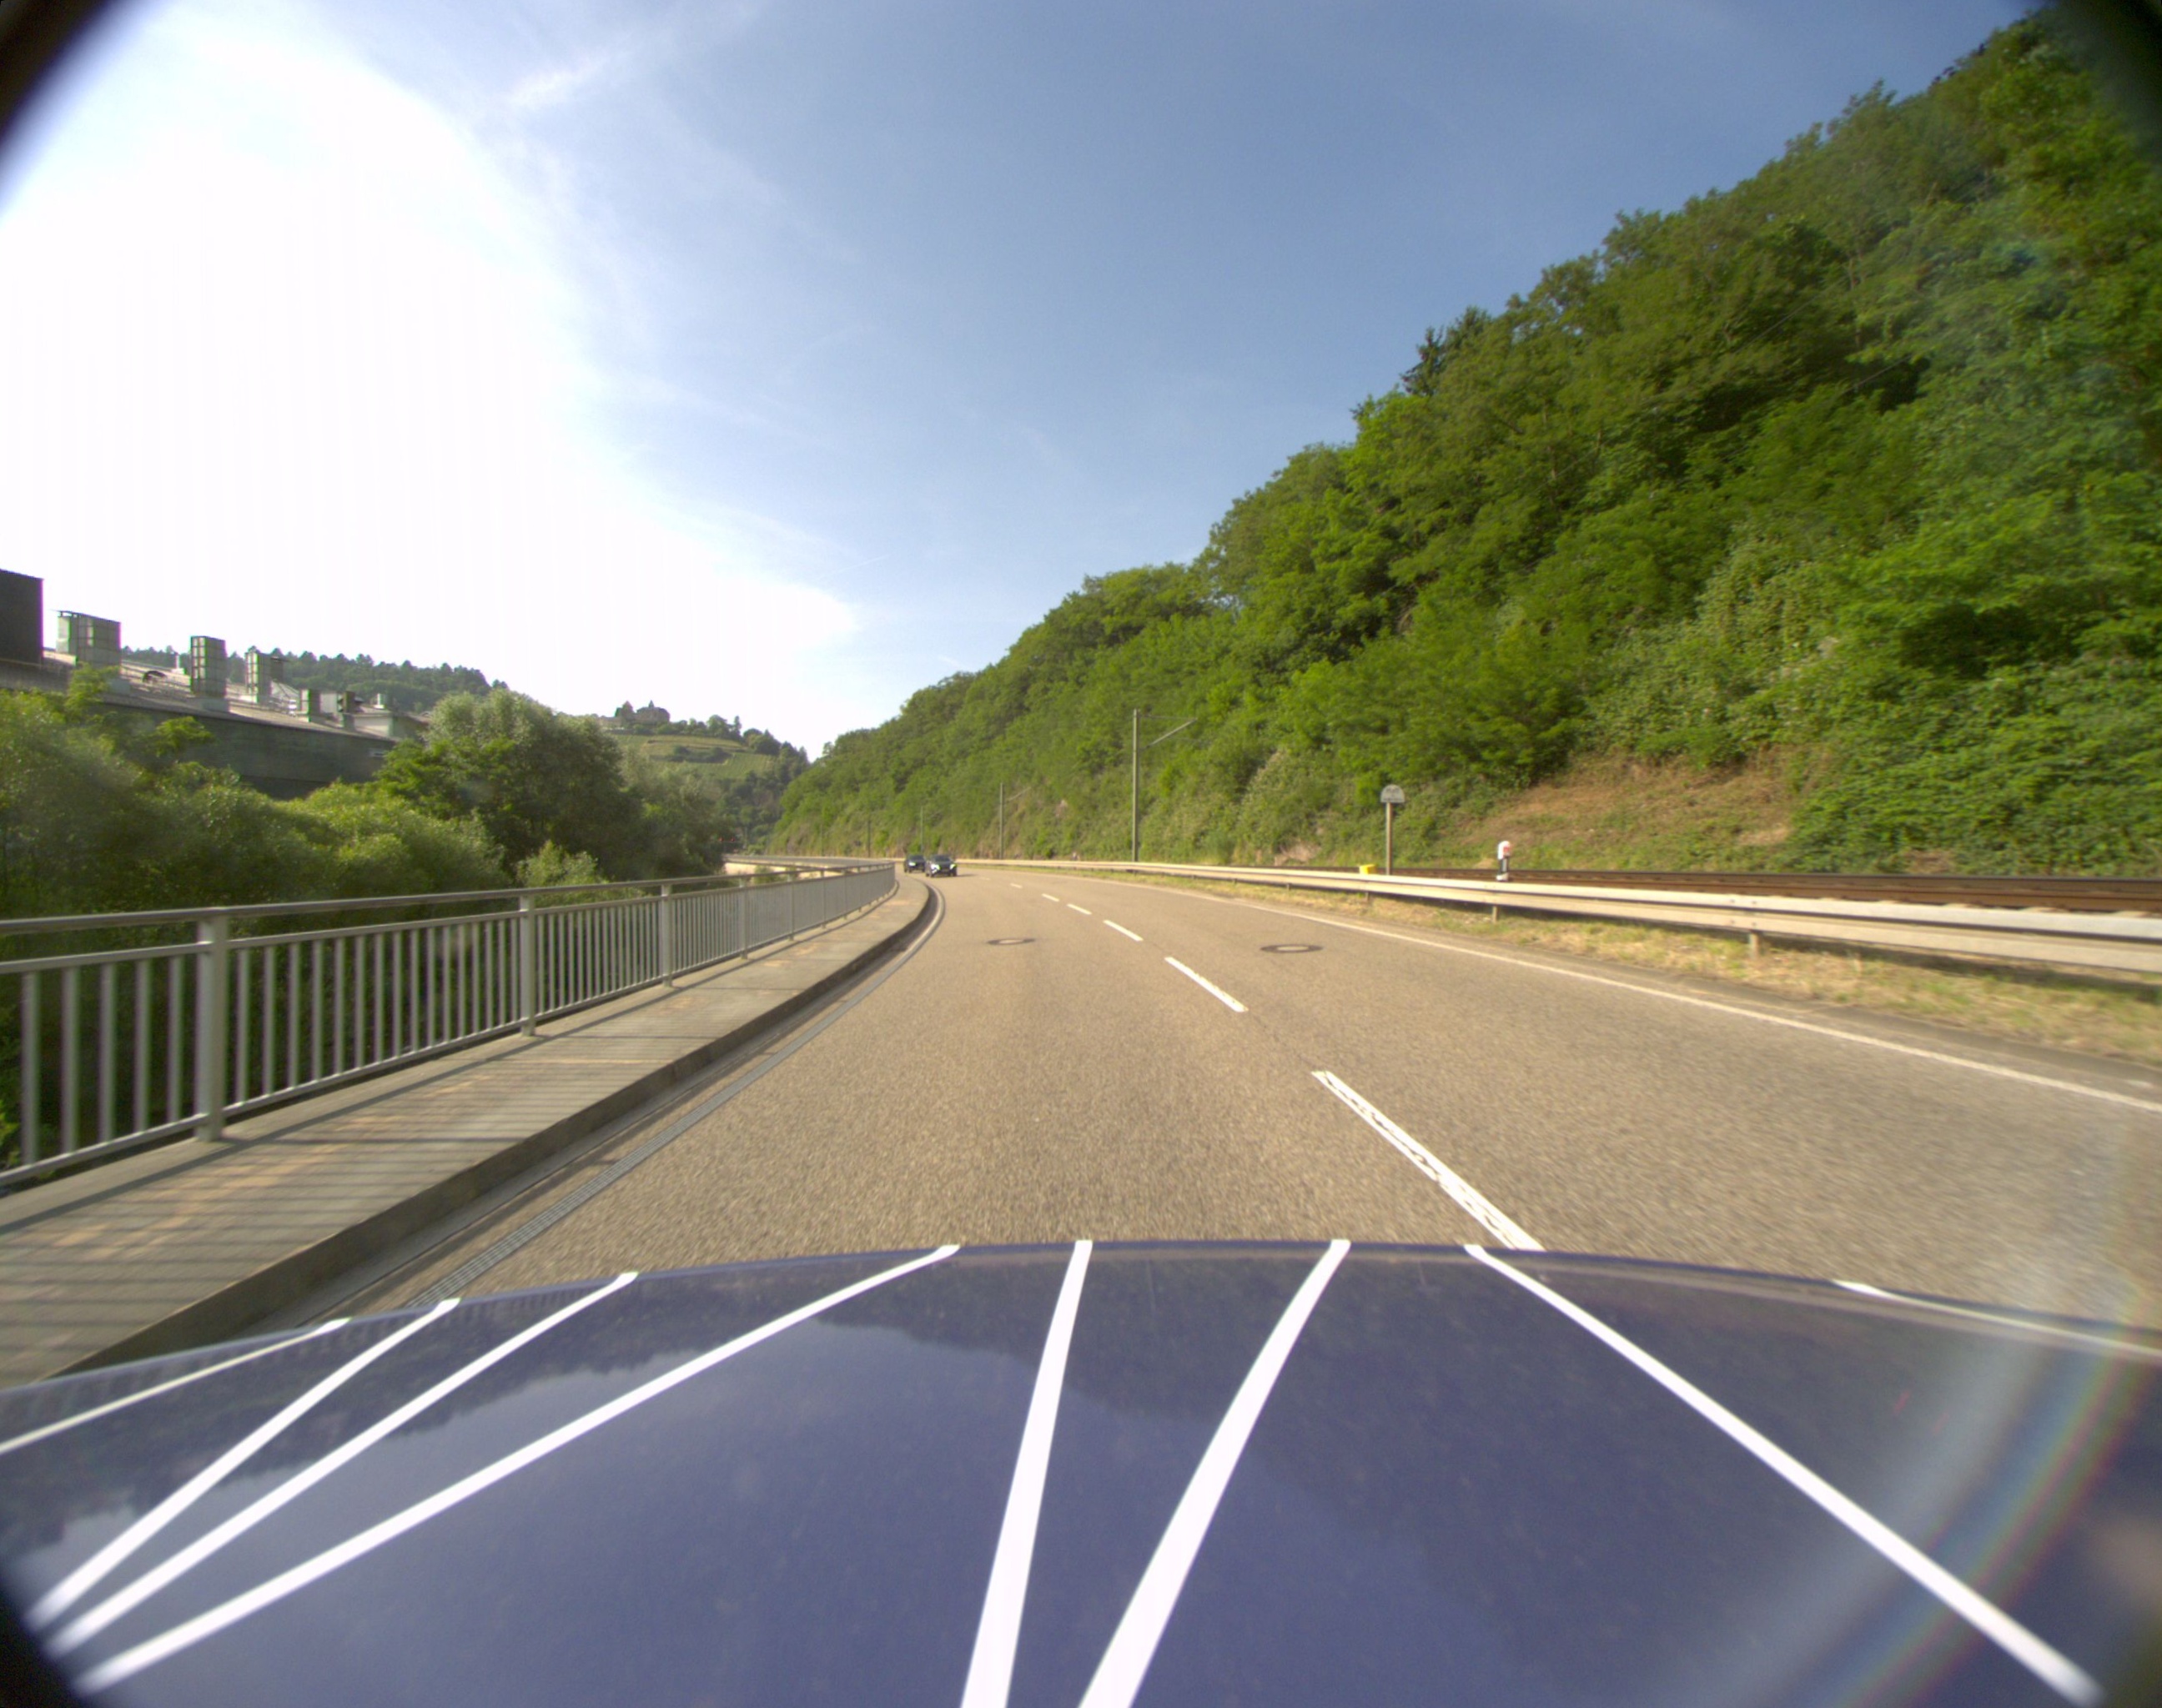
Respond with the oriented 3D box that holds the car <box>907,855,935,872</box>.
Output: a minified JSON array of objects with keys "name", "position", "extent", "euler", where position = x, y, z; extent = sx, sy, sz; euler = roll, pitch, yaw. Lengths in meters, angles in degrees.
[{"name":"car","position":[-14.538,0.873,68.893],"extent":[2.002,1.383,3.995],"euler":[0,-2,-19]}]

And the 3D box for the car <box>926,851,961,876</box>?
[{"name":"car","position":[-10.109,0.664,55.578],"extent":[1.866,1.576,3.992],"euler":[-2,2,-20]}]
